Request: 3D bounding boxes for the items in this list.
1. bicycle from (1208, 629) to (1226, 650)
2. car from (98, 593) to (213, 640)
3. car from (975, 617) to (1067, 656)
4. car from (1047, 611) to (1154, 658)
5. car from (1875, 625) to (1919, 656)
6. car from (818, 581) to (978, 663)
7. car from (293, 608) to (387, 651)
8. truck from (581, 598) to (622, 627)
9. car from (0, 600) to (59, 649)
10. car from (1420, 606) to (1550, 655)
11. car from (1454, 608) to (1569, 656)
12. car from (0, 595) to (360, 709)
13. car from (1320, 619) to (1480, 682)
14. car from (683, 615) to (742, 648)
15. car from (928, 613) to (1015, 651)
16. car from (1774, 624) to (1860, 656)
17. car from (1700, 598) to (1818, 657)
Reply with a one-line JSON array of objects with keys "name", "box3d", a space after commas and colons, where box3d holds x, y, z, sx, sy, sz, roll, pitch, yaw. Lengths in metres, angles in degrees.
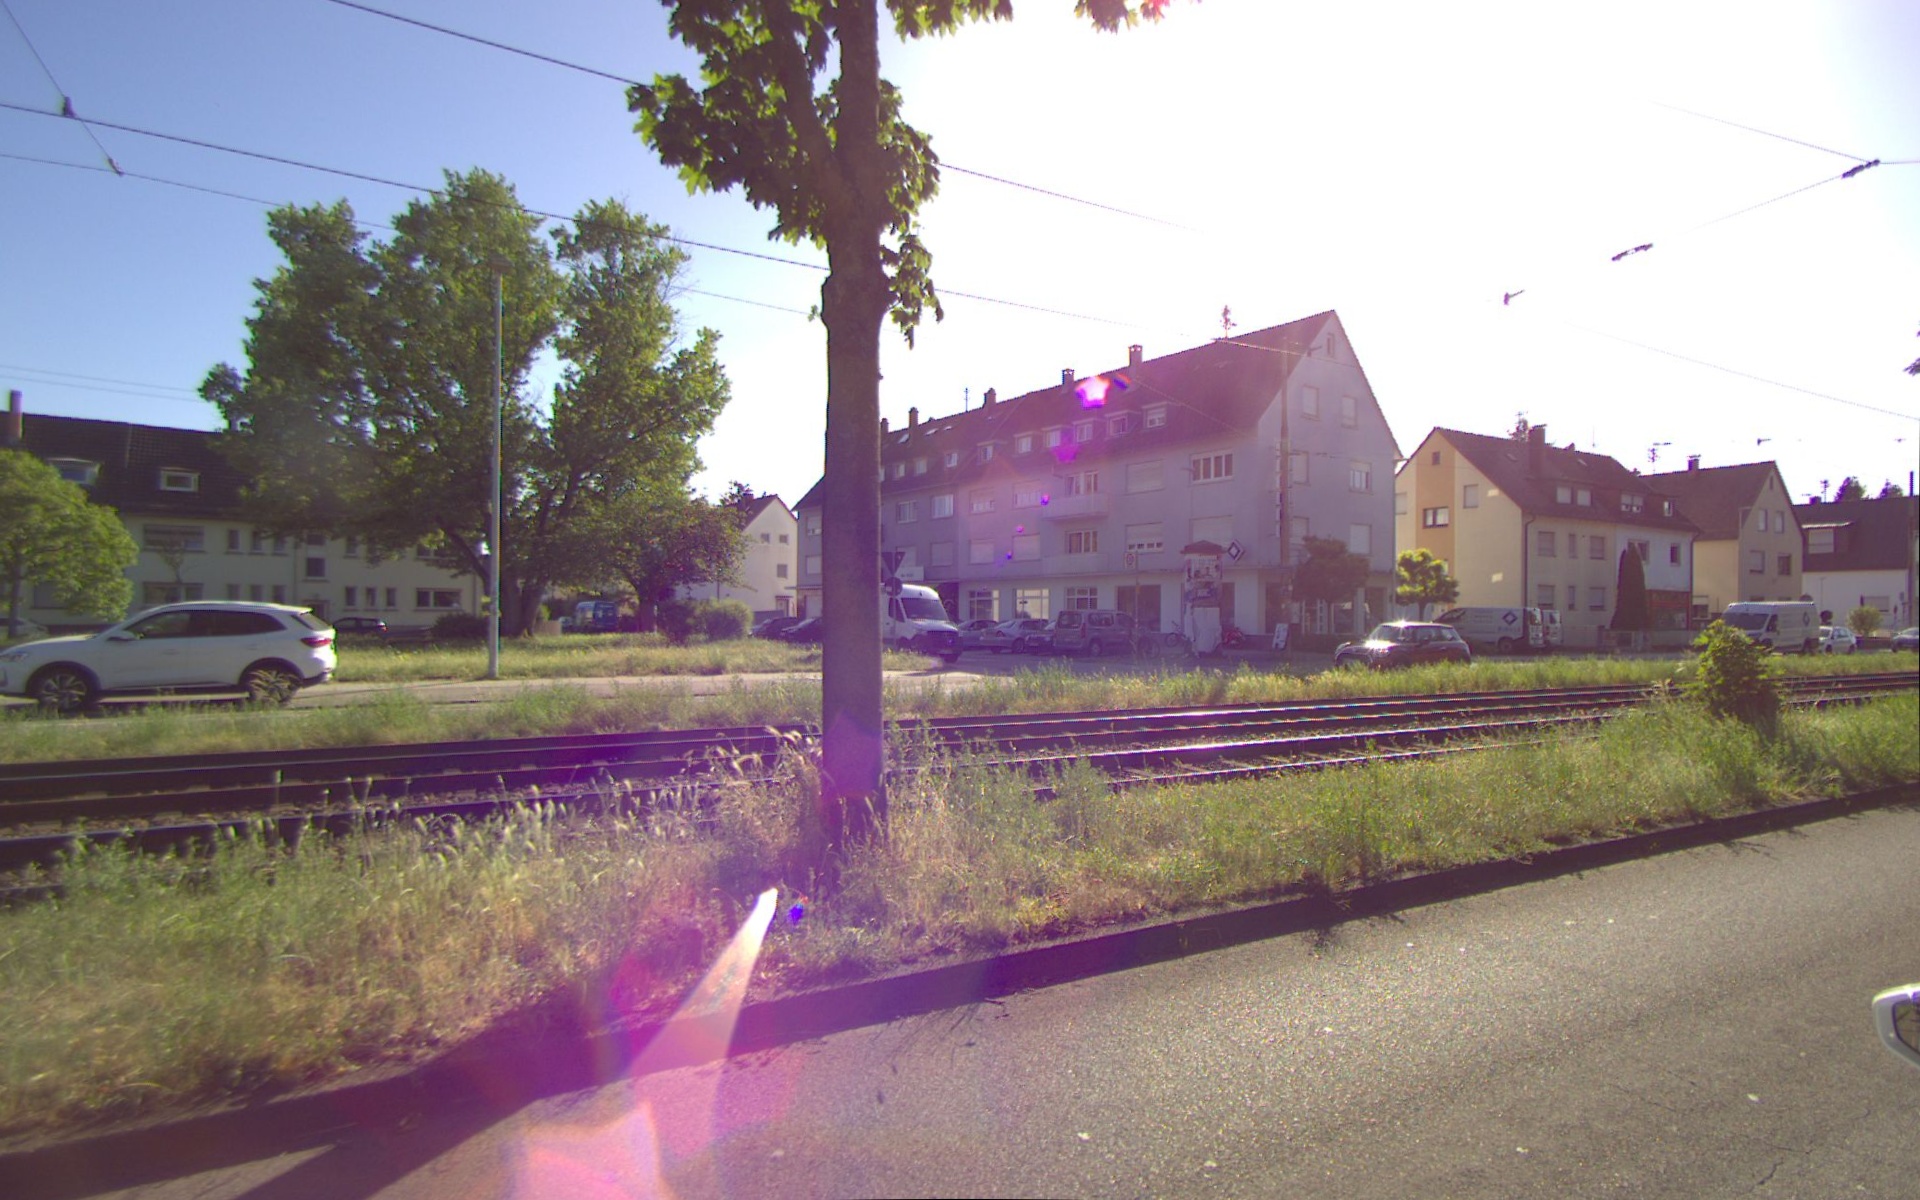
[{"name": "bicycle", "box3d": [10.679, 1.637, 41.744, 0.190, 0.863, 0.750, 1, 0, -37]}, {"name": "car", "box3d": [-36.793, 0.761, 46.099, 3.962, 2.040, 1.980, 2, 0, -36]}, {"name": "car", "box3d": [2.615, 1.552, 42.792, 3.597, 1.511, 1.782, 2, 0, -37]}, {"name": "car", "box3d": [5.467, 1.318, 38.886, 4.065, 1.692, 1.781, 2, 0, -39]}, {"name": "car", "box3d": [52.947, 2.223, 55.697, 4.444, 1.603, 1.984, 1, 1, -30]}, {"name": "car", "box3d": [-2.331, 0.657, 34.682, 2.306, 2.541, 7.022, 1, 0, -34]}, {"name": "car", "box3d": [-31.317, 1.502, 50.809, 3.956, 2.040, 1.982, 2, 0, -32]}, {"name": "truck", "box3d": [-28.076, 0.950, 78.684, 1.980, 2.117, 4.088, 2, 0, -35]}, {"name": "car", "box3d": [-41.232, 1.024, 42.799, 3.960, 2.040, 1.980, 2, 0, -35]}, {"name": "car", "box3d": [22.685, 1.263, 43.517, 1.984, 1.971, 4.579, 1, 0, -40]}, {"name": "car", "box3d": [24.669, 1.396, 45.015, 1.984, 1.978, 4.103, 1, 0, -40]}, {"name": "car", "box3d": [-12.626, 0.816, 16.455, 4.717, 1.628, 1.814, 2, 0, -30]}, {"name": "car", "box3d": [10.992, 1.224, 25.048, 3.953, 1.428, 1.668, 1, -1, -30]}, {"name": "car", "box3d": [-11.533, 1.459, 46.678, 1.500, 1.374, 3.248, 2, 0, -37]}, {"name": "car", "box3d": [0.552, 1.453, 45.692, 3.598, 1.612, 1.782, 2, 0, -37]}, {"name": "car", "box3d": [41.569, 1.937, 48.696, 4.604, 1.431, 1.815, 2, 0, -31]}, {"name": "car", "box3d": [36.360, 1.259, 45.655, 6.598, 2.492, 1.983, 2, 0, -31]}]
